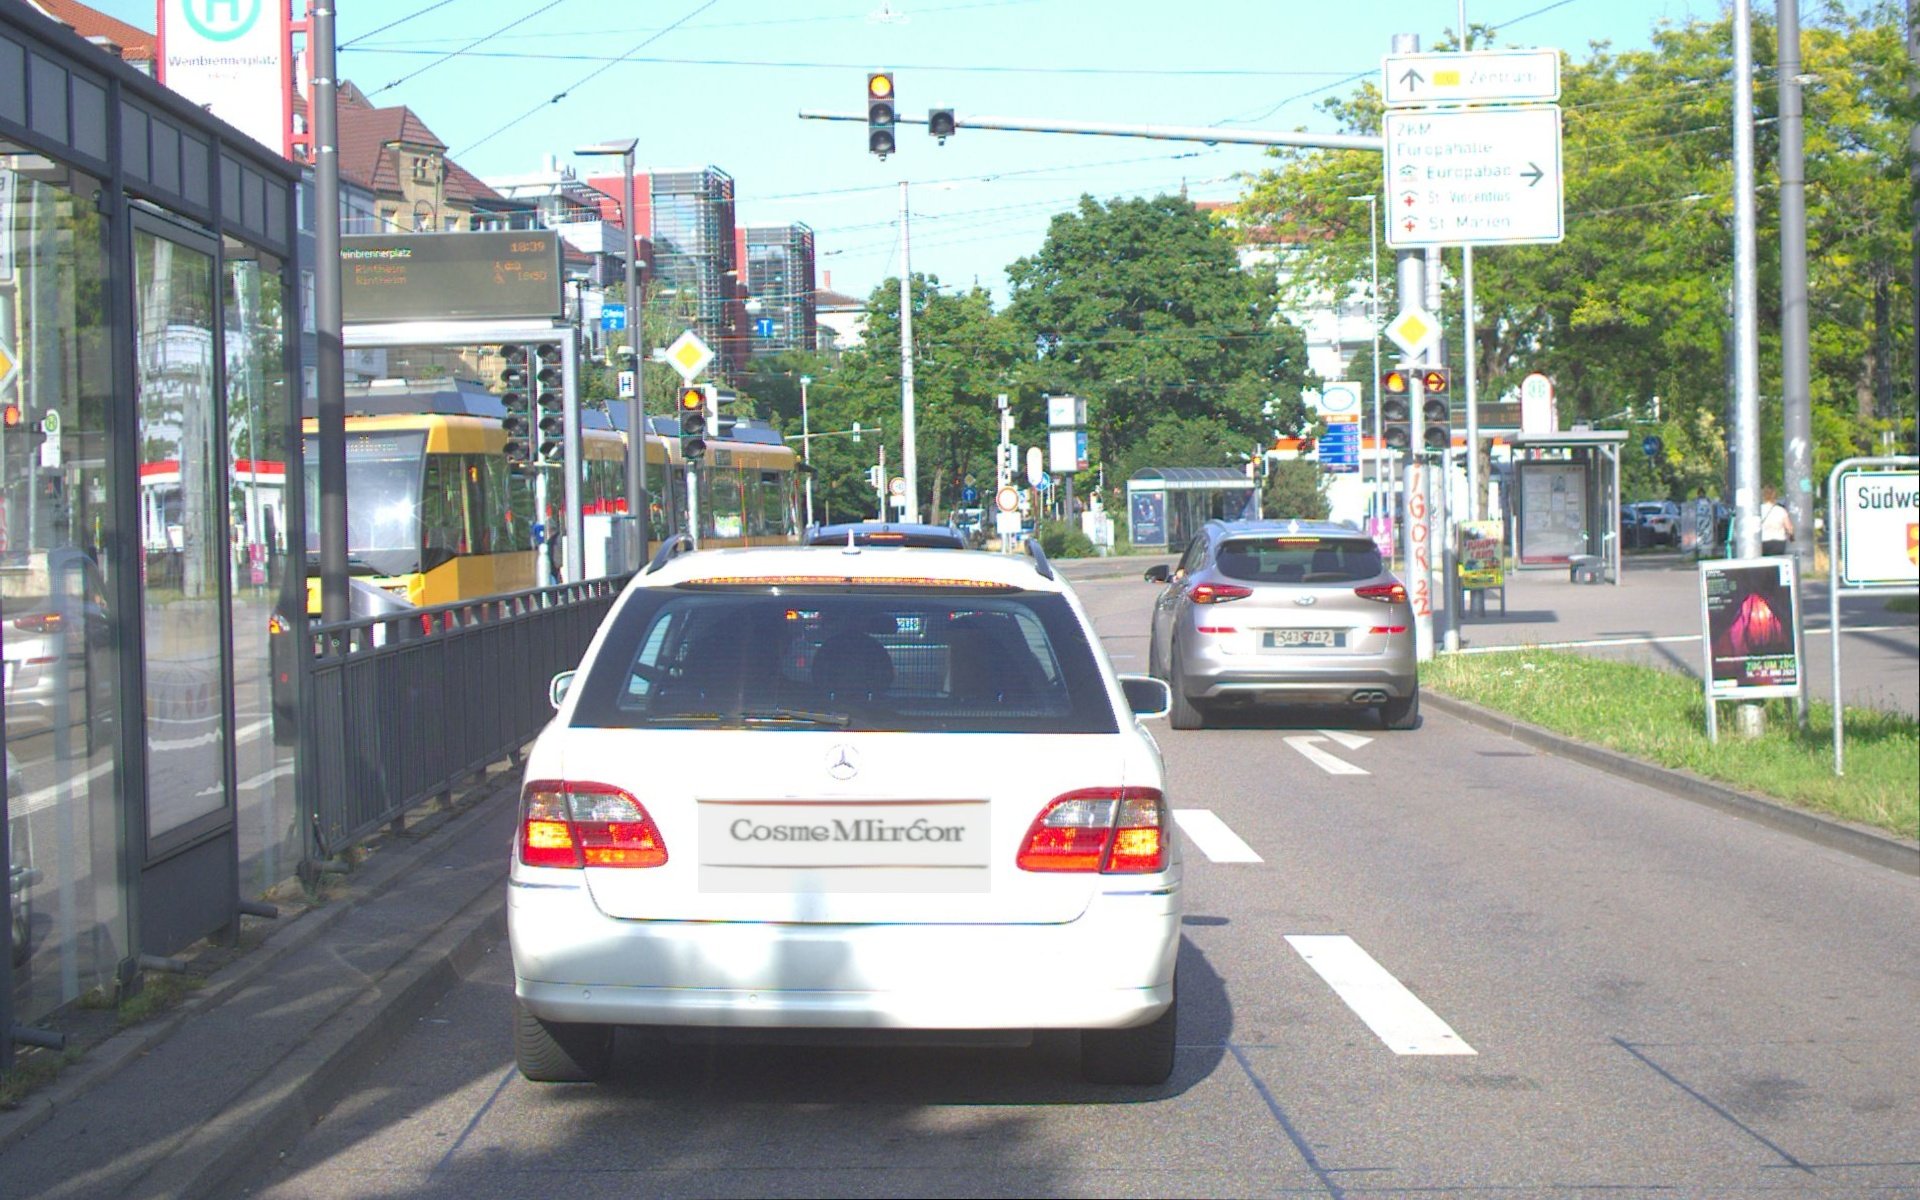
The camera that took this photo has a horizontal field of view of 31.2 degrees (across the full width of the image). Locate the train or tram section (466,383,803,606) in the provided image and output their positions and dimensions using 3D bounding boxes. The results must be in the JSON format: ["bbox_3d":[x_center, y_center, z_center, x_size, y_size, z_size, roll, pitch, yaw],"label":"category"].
[{"bbox_3d":[-5.397,-1.844,60.358,2.850,3.467,13.196,0,2,8],"label":"train or tram section"}]

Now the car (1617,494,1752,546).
[{"bbox_3d":[24.064,-2.657,114.145,3.986,1.645,2.000,-2,1,-27],"label":"car"}]

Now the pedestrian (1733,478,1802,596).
[{"bbox_3d":[11.451,-0.898,48.782,0.886,1.646,0.746,0,2,7],"label":"pedestrian"}]

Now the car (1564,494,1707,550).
[{"bbox_3d":[21.022,-2.422,106.960,3.992,1.645,1.997,-1,1,25],"label":"car"}]

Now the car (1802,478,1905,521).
[{"bbox_3d":[36.406,-4.094,140.157,3.989,1.645,1.999,-1,1,14],"label":"car"}]

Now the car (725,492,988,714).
[{"bbox_3d":[-0.771,-0.033,28.197,1.787,1.684,4.000,0,2,4],"label":"car"}]

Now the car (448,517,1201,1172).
[{"bbox_3d":[-0.296,0.539,10.209,1.758,1.498,4.000,-2,2,1],"label":"car"}]

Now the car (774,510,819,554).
[{"bbox_3d":[-7.714,-3.209,162.720,1.993,2.007,4.000,-1,1,-1],"label":"car"}]

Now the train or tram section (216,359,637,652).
[{"bbox_3d":[-6.963,-1.341,47.448,2.850,3.467,13.199,0,2,4],"label":"train or tram section"}]

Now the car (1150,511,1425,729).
[{"bbox_3d":[2.554,0.098,27.612,2.033,1.600,4.000,0,2,3],"label":"car"}]
